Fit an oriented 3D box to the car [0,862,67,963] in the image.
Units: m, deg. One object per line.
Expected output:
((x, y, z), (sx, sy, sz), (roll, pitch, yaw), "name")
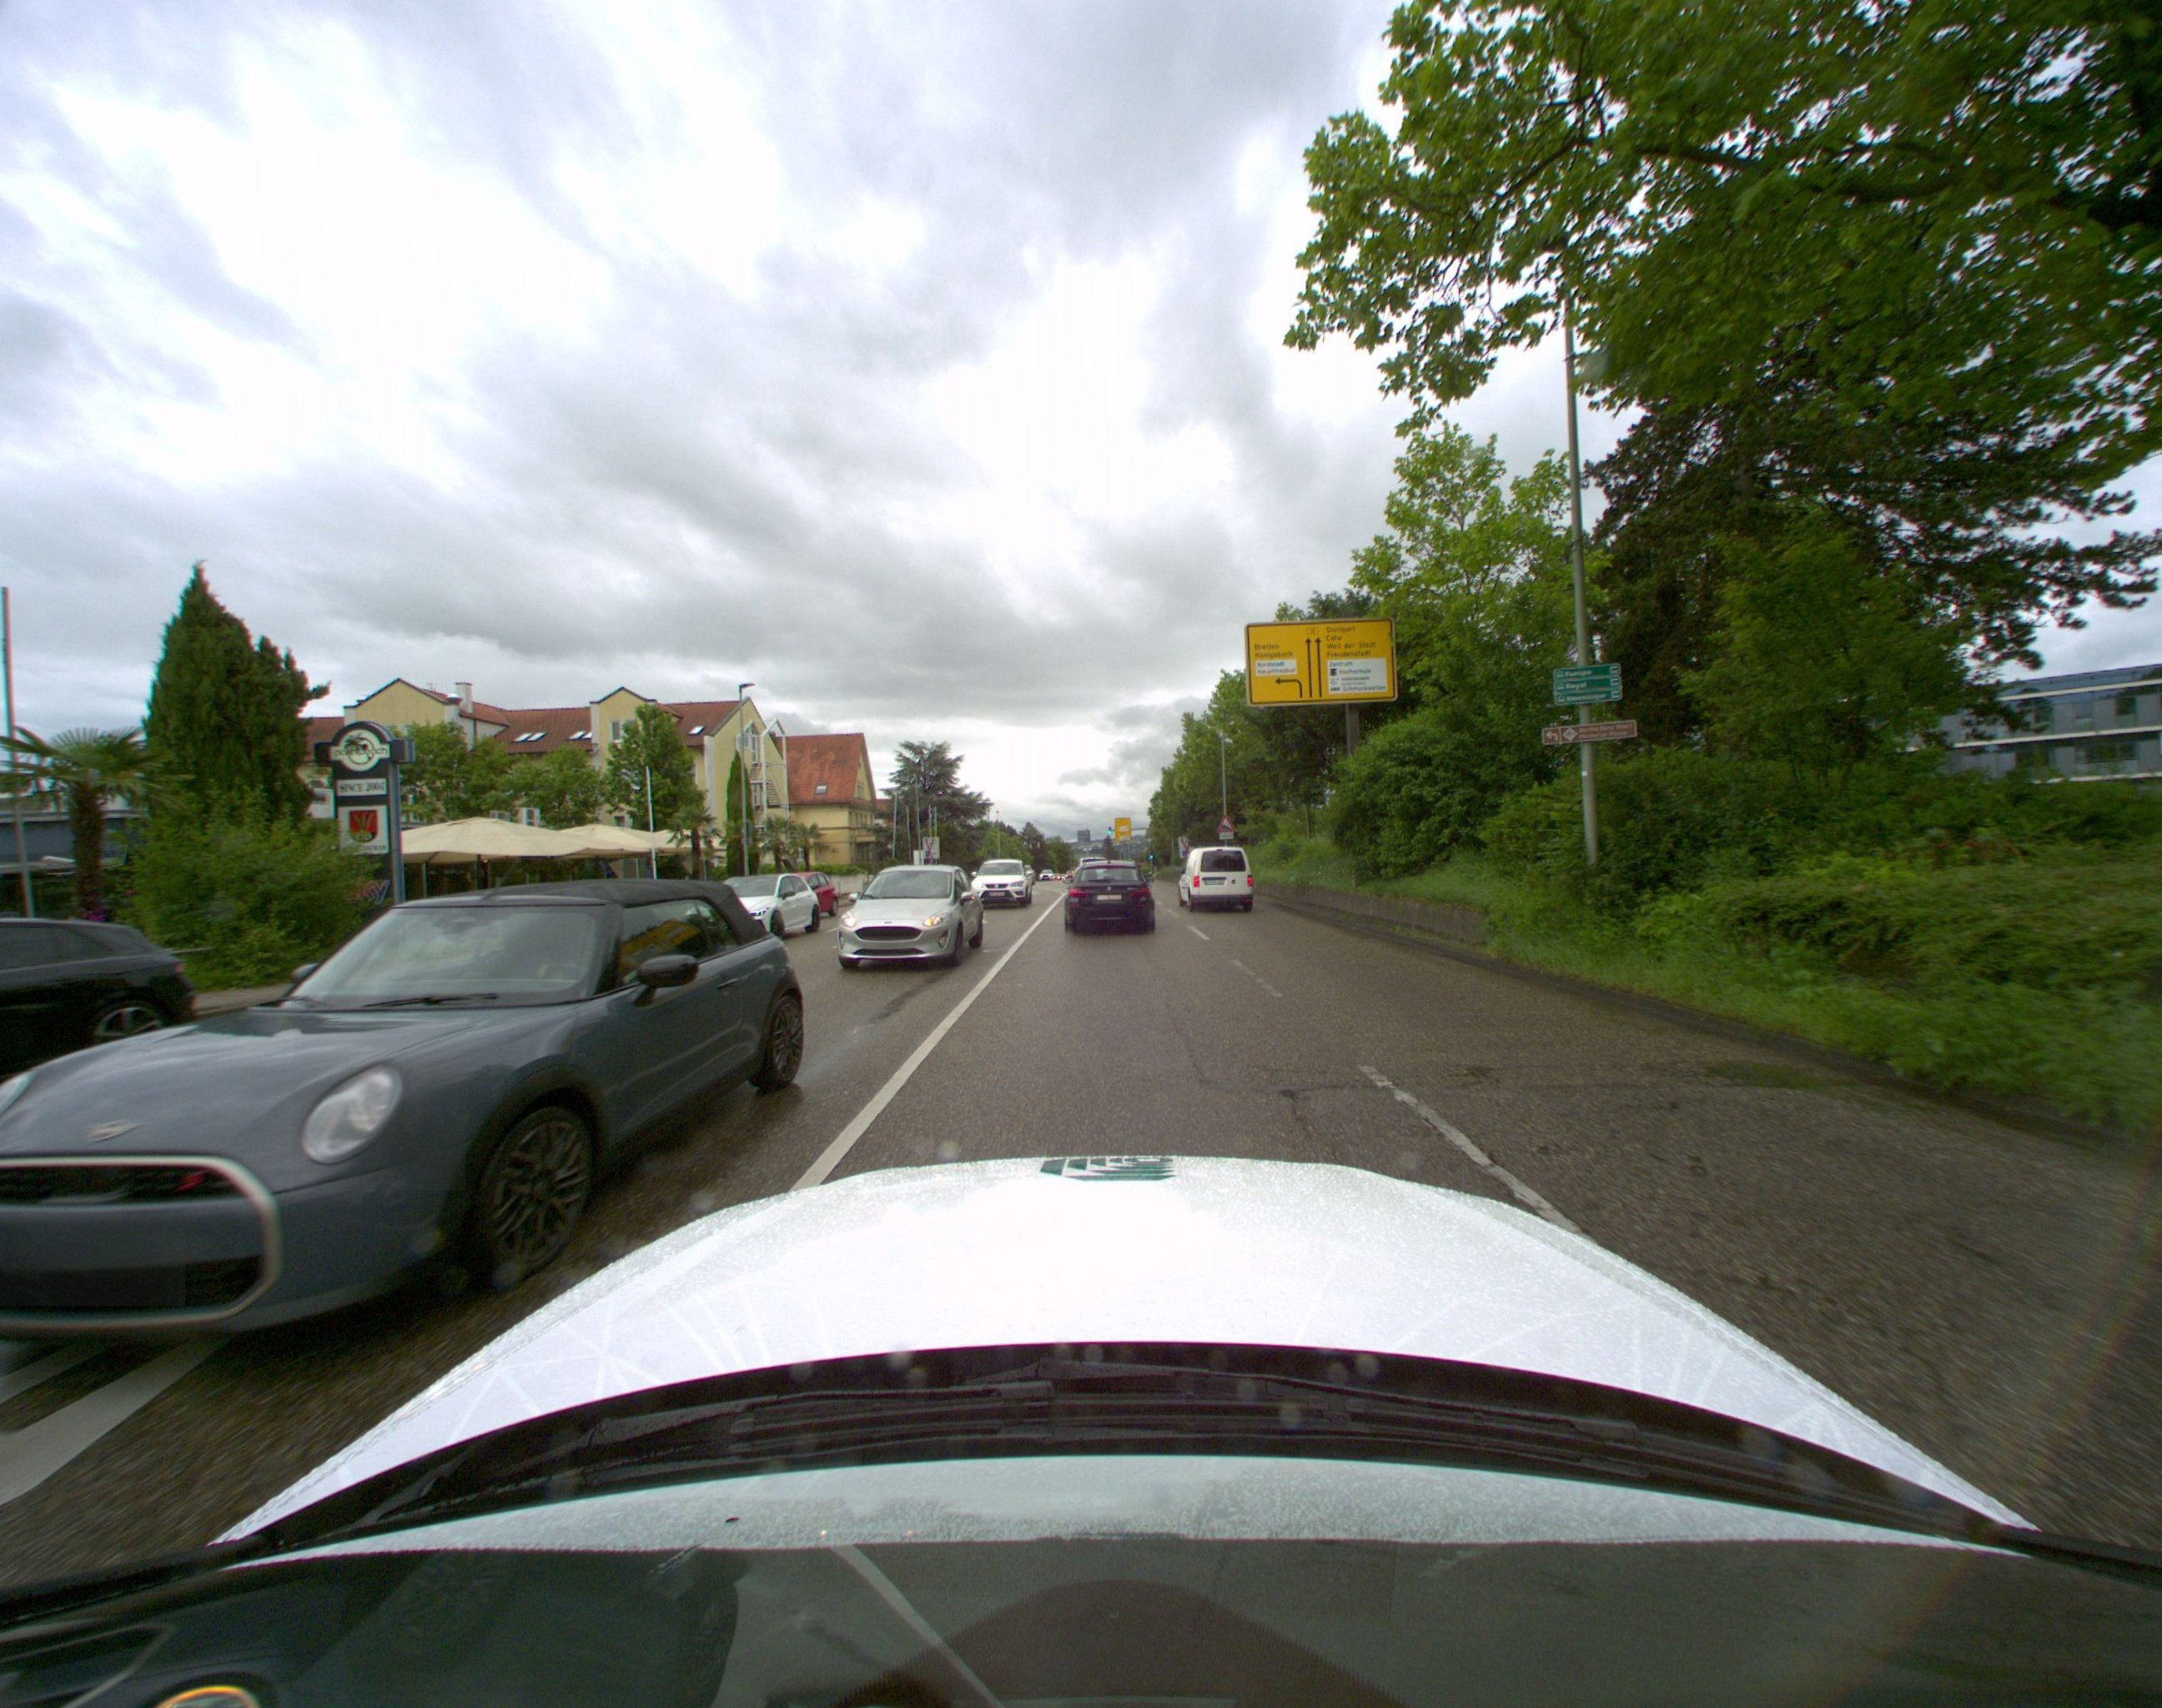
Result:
((-17.826, 0.997, 11.199), (4.373, 1.464, 1.984), (-4, -2, -23), "car")

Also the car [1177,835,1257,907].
((3.863, 0.417, 23.652), (1.758, 1.877, 3.806), (-1, 1, 1), "car")

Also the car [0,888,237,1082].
((-9.102, 1.106, 5.743), (1.596, 1.399, 4.405), (-4, 0, 0), "car")

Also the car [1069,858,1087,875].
((-0.308, 1.378, 89.938), (1.861, 1.673, 4.003), (-1, 1, 2), "car")

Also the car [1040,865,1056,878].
((-4.960, 2.711, 124.572), (1.910, 1.763, 5.146), (-4, -1, 2), "car")

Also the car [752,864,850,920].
((-8.908, 1.164, 26.263), (1.631, 1.533, 3.973), (-4, -1, 1), "car")

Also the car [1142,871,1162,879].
((14.186, 4.206, 162.253), (3.967, 1.376, 1.587), (-1, -2, 5), "car")

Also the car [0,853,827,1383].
((-2.796, 0.741, 4.251), (1.596, 1.441, 3.950), (-1, 0, 1), "car")

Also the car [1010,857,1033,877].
((-4.681, 1.042, 64.224), (1.746, 1.508, 4.295), (-2, -1, -4), "car")

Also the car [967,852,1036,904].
((-2.606, 0.785, 27.760), (1.780, 1.581, 4.240), (-2, -1, 1), "car")

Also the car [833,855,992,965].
((-2.475, 0.756, 12.907), (1.596, 1.441, 3.950), (-1, 0, 1), "car")

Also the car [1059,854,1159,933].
((0.624, 0.765, 17.693), (1.891, 1.441, 4.003), (-1, 1, 2), "car")

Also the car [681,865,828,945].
((-7.017, 1.030, 17.969), (1.633, 1.477, 4.042), (-2, -1, -2), "car")

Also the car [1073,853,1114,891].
((0.657, 0.845, 40.142), (1.861, 1.673, 4.003), (-1, 1, 2), "car")
